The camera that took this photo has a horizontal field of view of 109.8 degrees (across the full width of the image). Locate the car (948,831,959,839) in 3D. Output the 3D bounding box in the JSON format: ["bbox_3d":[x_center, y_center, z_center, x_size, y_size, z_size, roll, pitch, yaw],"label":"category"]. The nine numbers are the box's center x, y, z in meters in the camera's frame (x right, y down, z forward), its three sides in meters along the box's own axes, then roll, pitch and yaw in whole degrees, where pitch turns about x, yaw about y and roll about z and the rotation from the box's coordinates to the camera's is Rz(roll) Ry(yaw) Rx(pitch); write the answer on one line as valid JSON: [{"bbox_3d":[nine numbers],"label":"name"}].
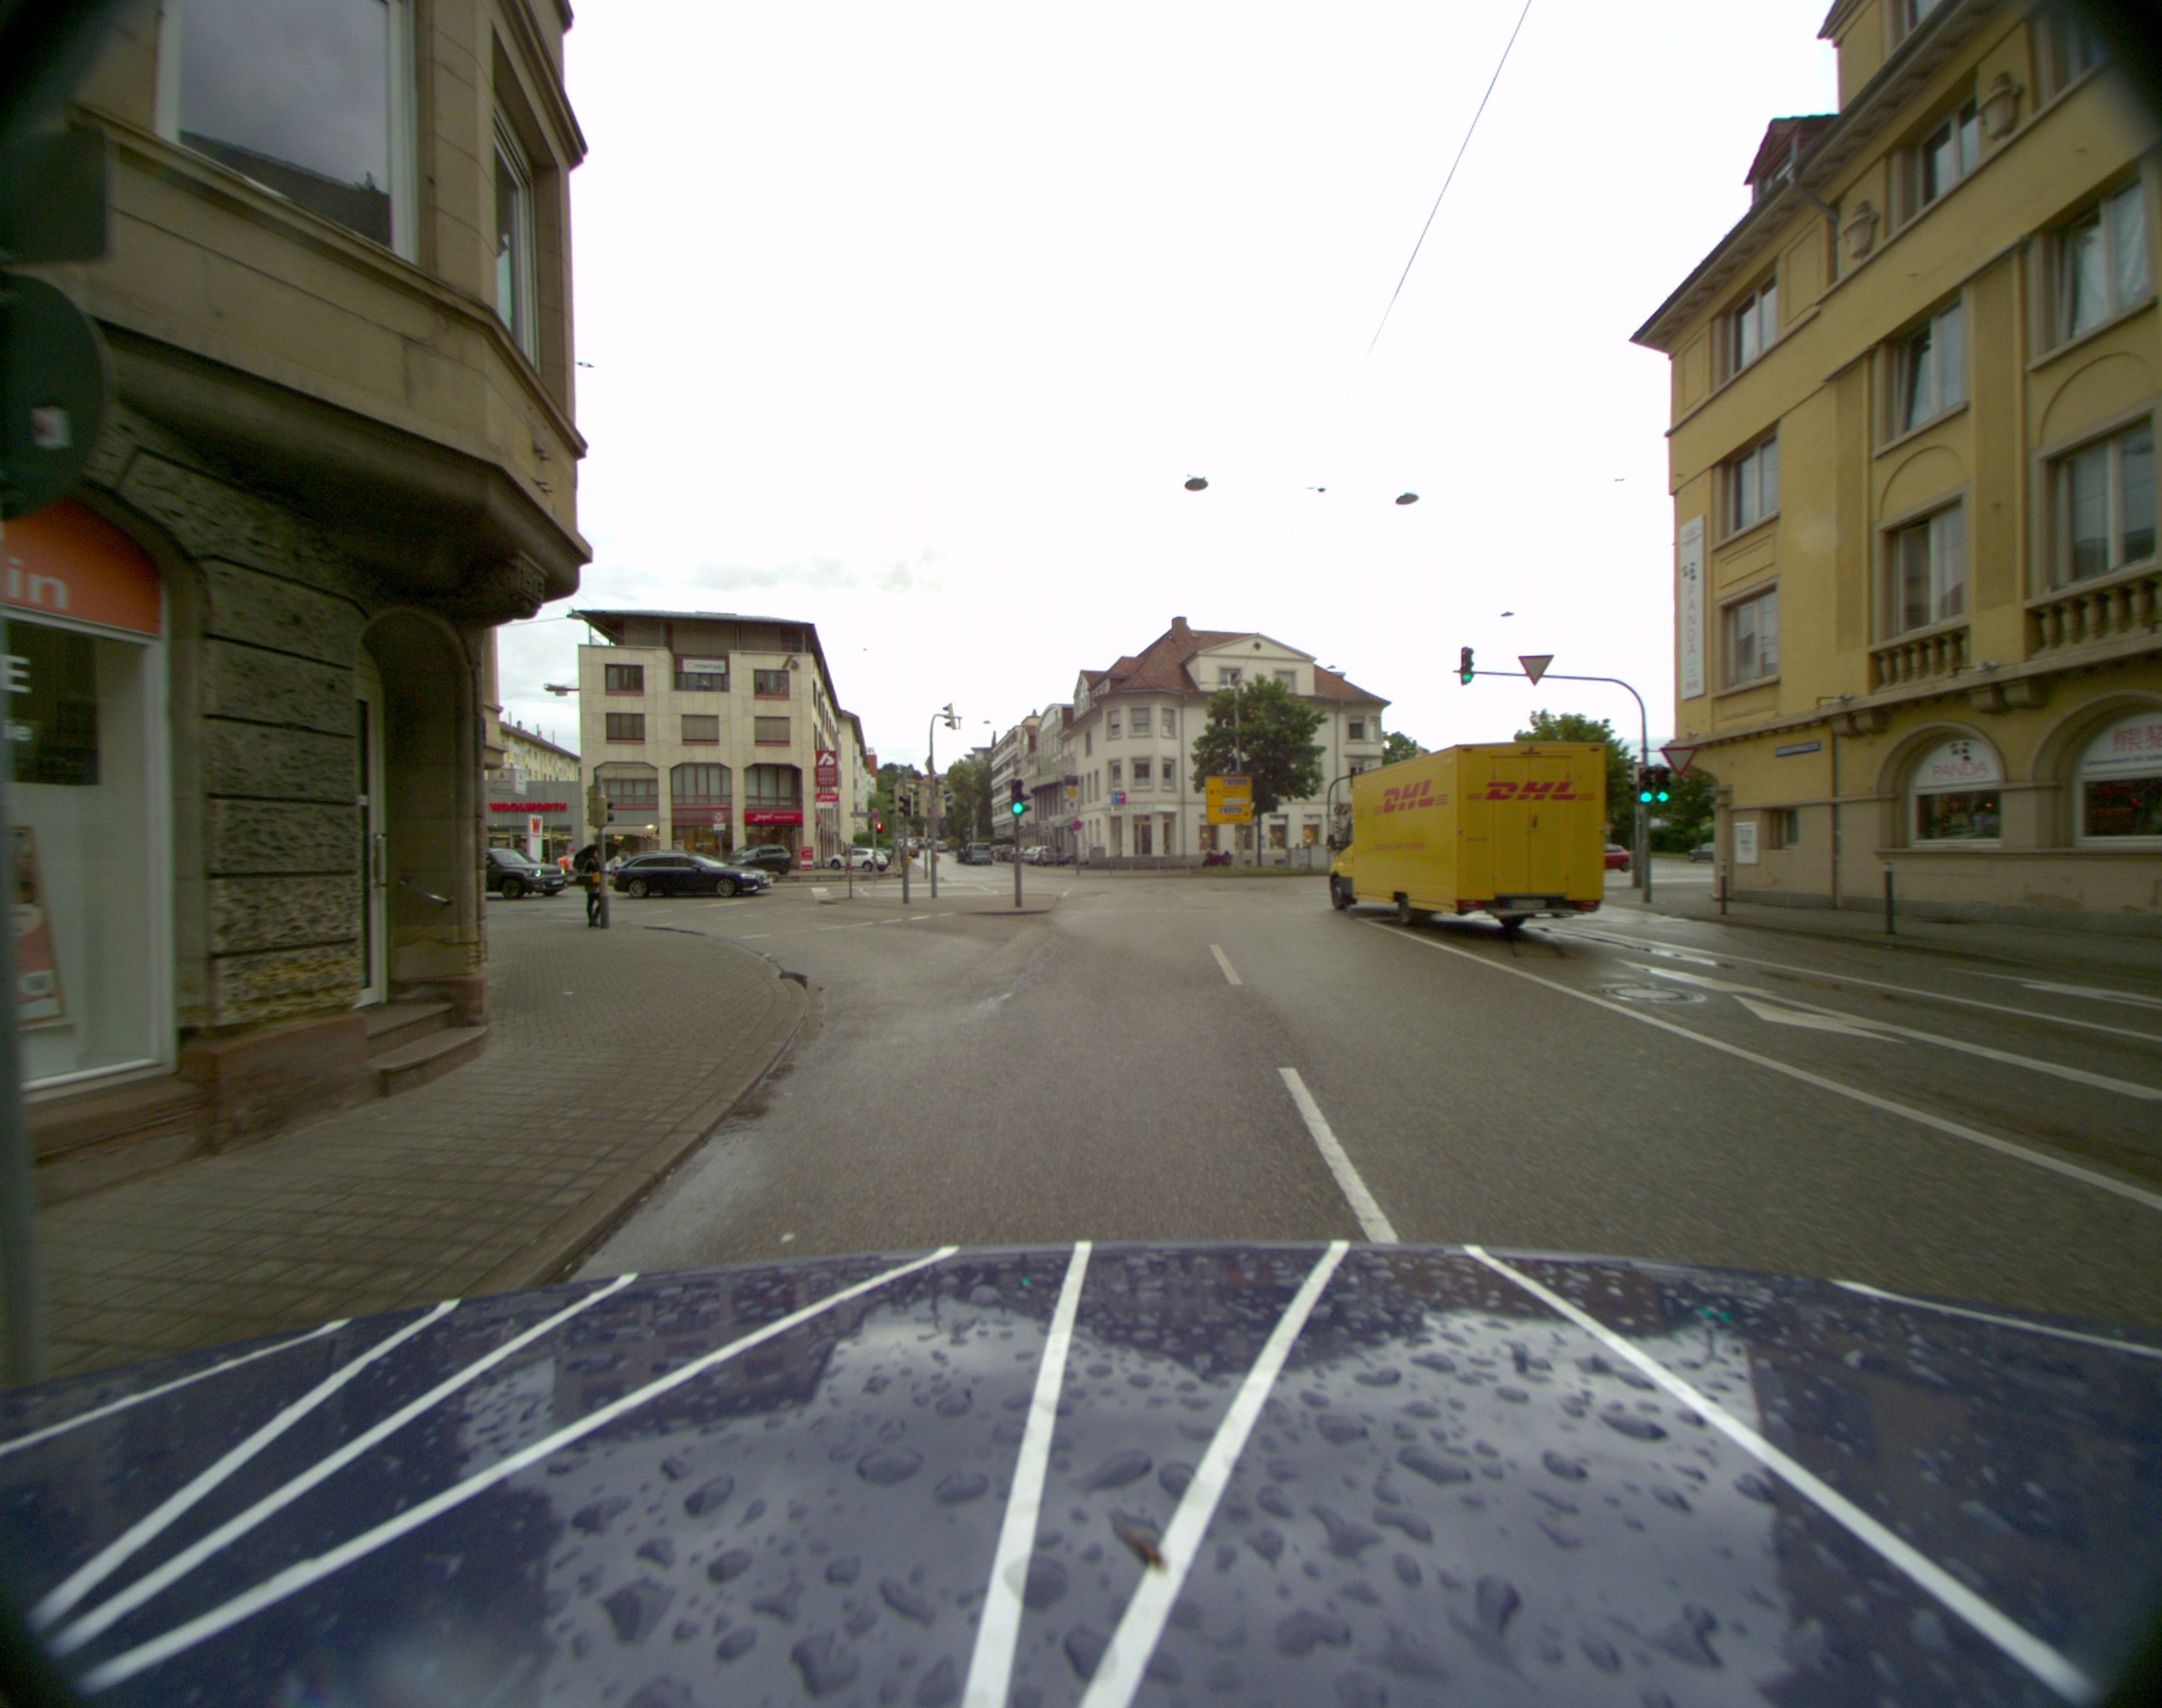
[{"bbox_3d":[-26.581,-3.917,157.858,2.001,1.576,4.652,-1,1,-13],"label":"car"}]

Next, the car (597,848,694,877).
[{"bbox_3d":[-22.381,0.392,39.240,1.929,1.353,4.204,0,1,15],"label":"car"}]

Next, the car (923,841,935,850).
[{"bbox_3d":[-27.514,-1.546,137.582,2.001,1.576,4.652,-1,1,-13],"label":"car"}]

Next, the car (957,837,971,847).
[{"bbox_3d":[-19.031,-1.923,123.366,2.001,1.576,4.652,-1,1,-13],"label":"car"}]

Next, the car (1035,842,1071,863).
[{"bbox_3d":[-2.123,-0.137,56.764,2.001,1.499,3.994,-1,1,-13],"label":"car"}]

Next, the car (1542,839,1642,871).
[{"bbox_3d":[26.328,0.014,39.194,4.040,1.575,2.022,-1,2,-13],"label":"car"}]

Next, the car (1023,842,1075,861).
[{"bbox_3d":[-2.687,-0.206,63.494,4.002,1.499,1.997,-1,2,-15],"label":"car"}]

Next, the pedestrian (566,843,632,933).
[{"bbox_3d":[-9.999,0.670,15.765,0.956,1.770,1.181,-2,2,-40],"label":"pedestrian"}]

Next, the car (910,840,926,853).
[{"bbox_3d":[-21.728,-0.994,100.959,2.001,1.576,4.652,-1,1,-13],"label":"car"}]

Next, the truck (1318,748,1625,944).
[{"bbox_3d":[6.571,-0.192,14.175,2.233,2.735,7.023,-1,1,1],"label":"truck"}]

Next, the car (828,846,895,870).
[{"bbox_3d":[-14.691,0.253,50.955,3.991,1.486,1.803,0,2,19],"label":"car"}]

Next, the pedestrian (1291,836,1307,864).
[{"bbox_3d":[13.662,-0.269,47.586,0.755,1.719,0.681,-1,2,-9],"label":"pedestrian"}]

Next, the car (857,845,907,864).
[{"bbox_3d":[-16.980,0.038,65.016,4.001,1.499,1.997,-1,2,-12],"label":"car"}]

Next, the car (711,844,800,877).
[{"bbox_3d":[-16.889,0.305,39.664,1.929,1.541,4.262,0,2,16],"label":"car"}]

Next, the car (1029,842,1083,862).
[{"bbox_3d":[-1.999,-0.158,61.211,4.002,1.499,1.997,-1,2,-15],"label":"car"}]

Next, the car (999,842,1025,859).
[{"bbox_3d":[-6.755,-0.412,74.490,2.001,1.576,3.994,-1,2,-13],"label":"car"}]

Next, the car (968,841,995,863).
[{"bbox_3d":[-9.007,-0.212,68.309,2.001,1.904,3.994,-1,2,-13],"label":"car"}]

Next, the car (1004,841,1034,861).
[{"bbox_3d":[-5.672,-0.302,69.315,2.000,1.576,3.994,-7,3,-13],"label":"car"}]

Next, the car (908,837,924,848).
[{"bbox_3d":[-23.116,-1.629,106.408,2.001,1.576,4.652,-1,1,-13],"label":"car"}]

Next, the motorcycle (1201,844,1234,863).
[{"bbox_3d":[8.750,-0.031,48.709,2.013,1.142,0.718,-1,2,-12],"label":"motorcycle"}]

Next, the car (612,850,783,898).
[{"bbox_3d":[-12.263,0.629,24.497,4.525,1.409,1.933,-1,2,4],"label":"car"}]
